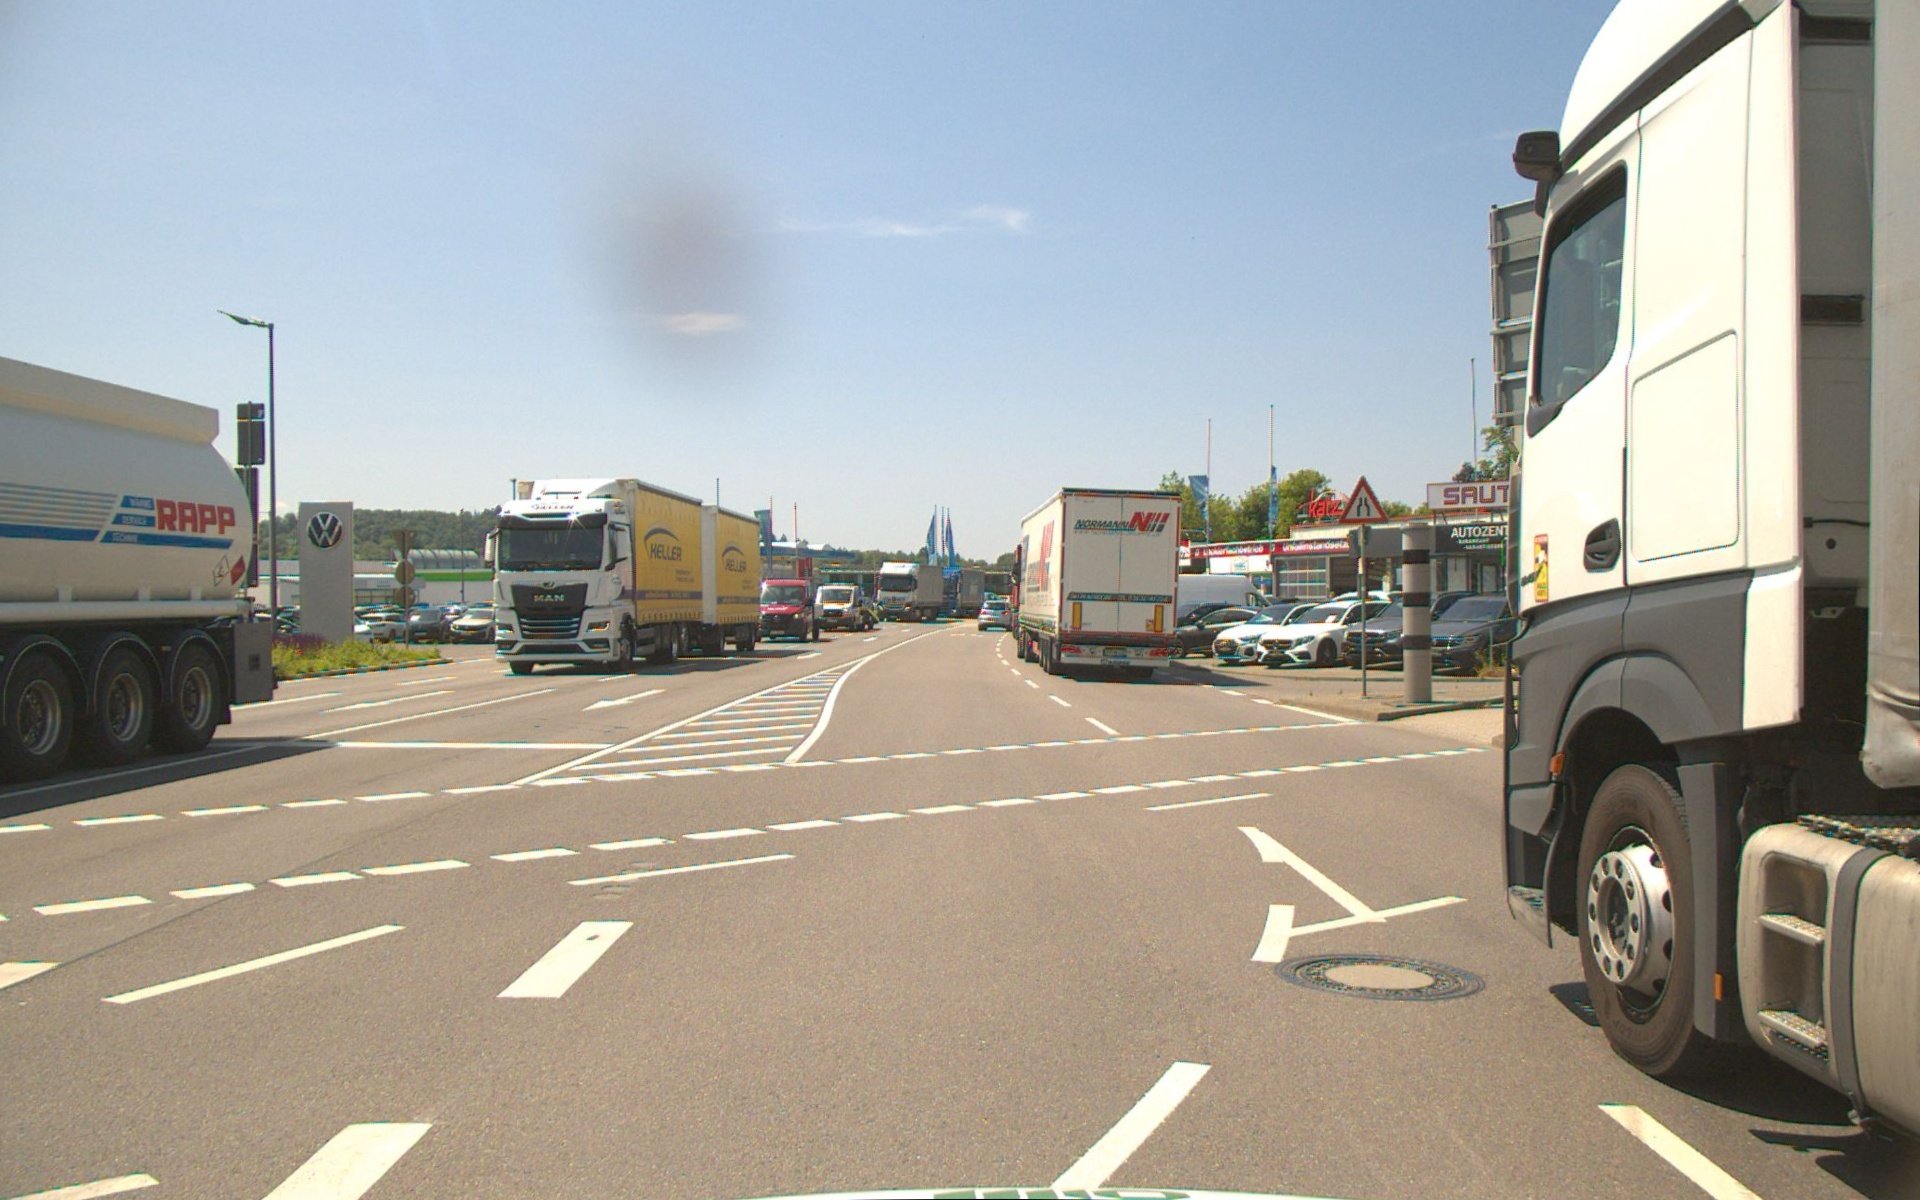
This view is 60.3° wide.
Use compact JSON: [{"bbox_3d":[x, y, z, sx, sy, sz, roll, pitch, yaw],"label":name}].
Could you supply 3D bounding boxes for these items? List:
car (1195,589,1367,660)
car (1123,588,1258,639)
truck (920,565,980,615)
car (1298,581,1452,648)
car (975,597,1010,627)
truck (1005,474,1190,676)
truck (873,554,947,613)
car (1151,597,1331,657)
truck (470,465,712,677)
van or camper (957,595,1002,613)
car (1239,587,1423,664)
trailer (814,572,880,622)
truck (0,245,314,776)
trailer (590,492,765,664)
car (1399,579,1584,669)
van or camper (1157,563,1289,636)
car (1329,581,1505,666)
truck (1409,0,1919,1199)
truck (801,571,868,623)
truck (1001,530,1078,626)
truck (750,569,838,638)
[{"bbox_3d":[8.504,0.619,43.652,4.419,1.433,1.727,-6,2,-32],"label":"car"},{"bbox_3d":[8.063,0.450,57.786,4.273,1.653,2.044,-1,0,-26],"label":"car"},{"bbox_3d":[-0.705,-0.735,141.381,2.783,3.957,17.018,0,0,7],"label":"truck"},{"bbox_3d":[12.454,0.465,49.782,1.839,1.744,4.083,-2,-2,-43],"label":"car"},{"bbox_3d":[1.817,0.663,92.649,1.884,1.638,4.095,0,0,1],"label":"car"},{"bbox_3d":[3.092,-0.522,43.051,2.913,4.165,17.630,1,0,-1],"label":"truck"},{"bbox_3d":[-3.449,-1.087,119.713,2.731,3.957,16.495,0,0,7],"label":"truck"},{"bbox_3d":[7.945,0.796,47.149,1.912,1.411,4.857,-2,-2,-43],"label":"car"},{"bbox_3d":[-8.121,-0.589,38.086,2.966,4.177,10.356,-1,0,1],"label":"truck"},{"bbox_3d":[2.227,0.449,187.633,4.744,1.938,1.906,1,0,10],"label":"van or camper"},{"bbox_3d":[9.287,0.611,41.204,4.694,1.580,1.972,-4,1,-39],"label":"car"},{"bbox_3d":[-5.751,-0.165,85.166,2.377,2.379,6.900,-2,0,4],"label":"trailer"},{"bbox_3d":[-8.688,-0.657,10.798,2.551,4.088,15.133,-2,0,1],"label":"truck"},{"bbox_3d":[-7.848,-0.571,47.454,2.949,4.362,10.061,-1,0,2],"label":"trailer"},{"bbox_3d":[11.915,0.499,37.004,4.140,1.721,1.860,-4,1,-37],"label":"car"},{"bbox_3d":[10.899,-0.019,68.864,5.256,2.956,2.233,0,0,3],"label":"van or camper"},{"bbox_3d":[10.853,0.539,39.184,4.131,1.721,1.860,-4,1,-37],"label":"car"},{"bbox_3d":[3.501,-0.560,3.953,2.913,4.080,6.326,-2,0,-1],"label":"truck"},{"bbox_3d":[-6.071,-0.151,80.763,2.374,2.381,5.678,-2,0,4],"label":"truck"},{"bbox_3d":[3.409,-0.900,73.990,2.594,3.873,13.357,0,0,-1],"label":"truck"},{"bbox_3d":[-6.328,0.133,63.864,2.346,2.487,6.874,1,0,3],"label":"truck"}]
